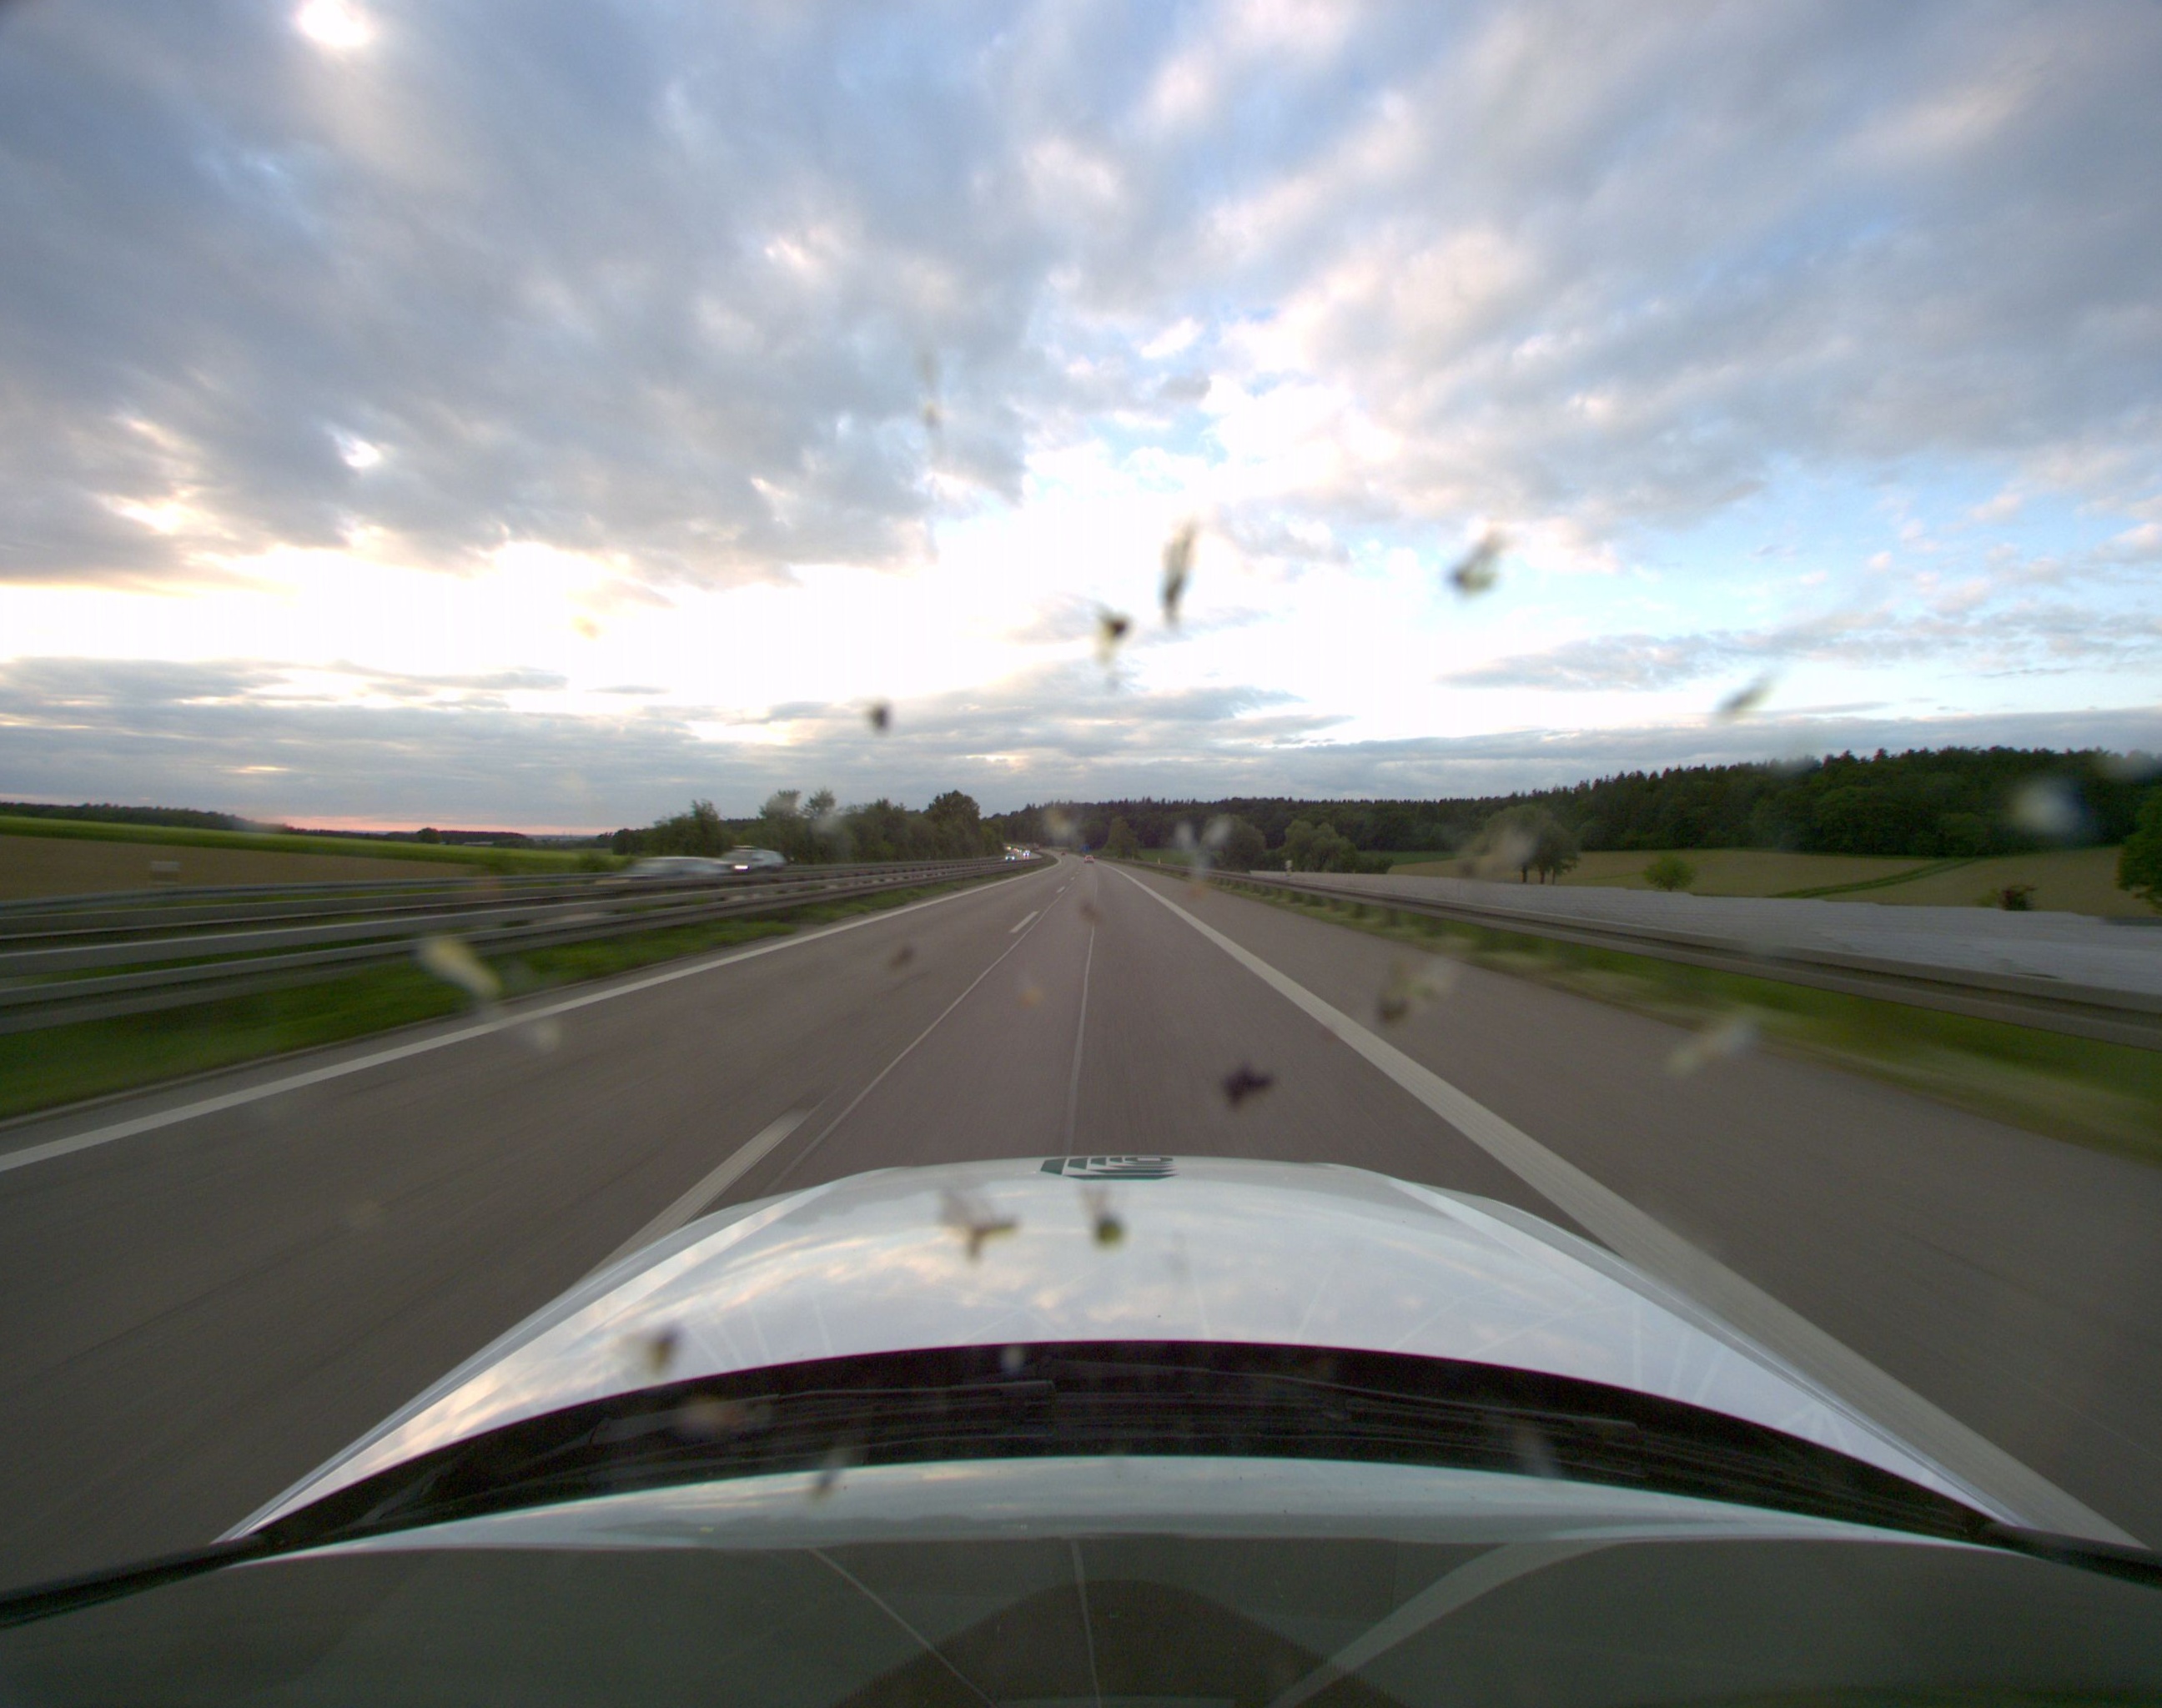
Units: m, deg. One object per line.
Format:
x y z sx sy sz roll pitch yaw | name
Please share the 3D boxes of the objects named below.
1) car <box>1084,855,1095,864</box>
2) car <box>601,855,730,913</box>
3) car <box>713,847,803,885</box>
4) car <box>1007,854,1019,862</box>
1.680 1.057 162.126 1.945 1.531 4.080 2 0 0 | car
-12.061 0.807 23.952 1.655 1.440 4.129 2 0 -1 | car
-15.858 0.540 40.376 1.879 1.693 5.771 2 1 2 | car
-14.913 0.870 178.374 1.986 1.627 5.738 2 1 1 | car
